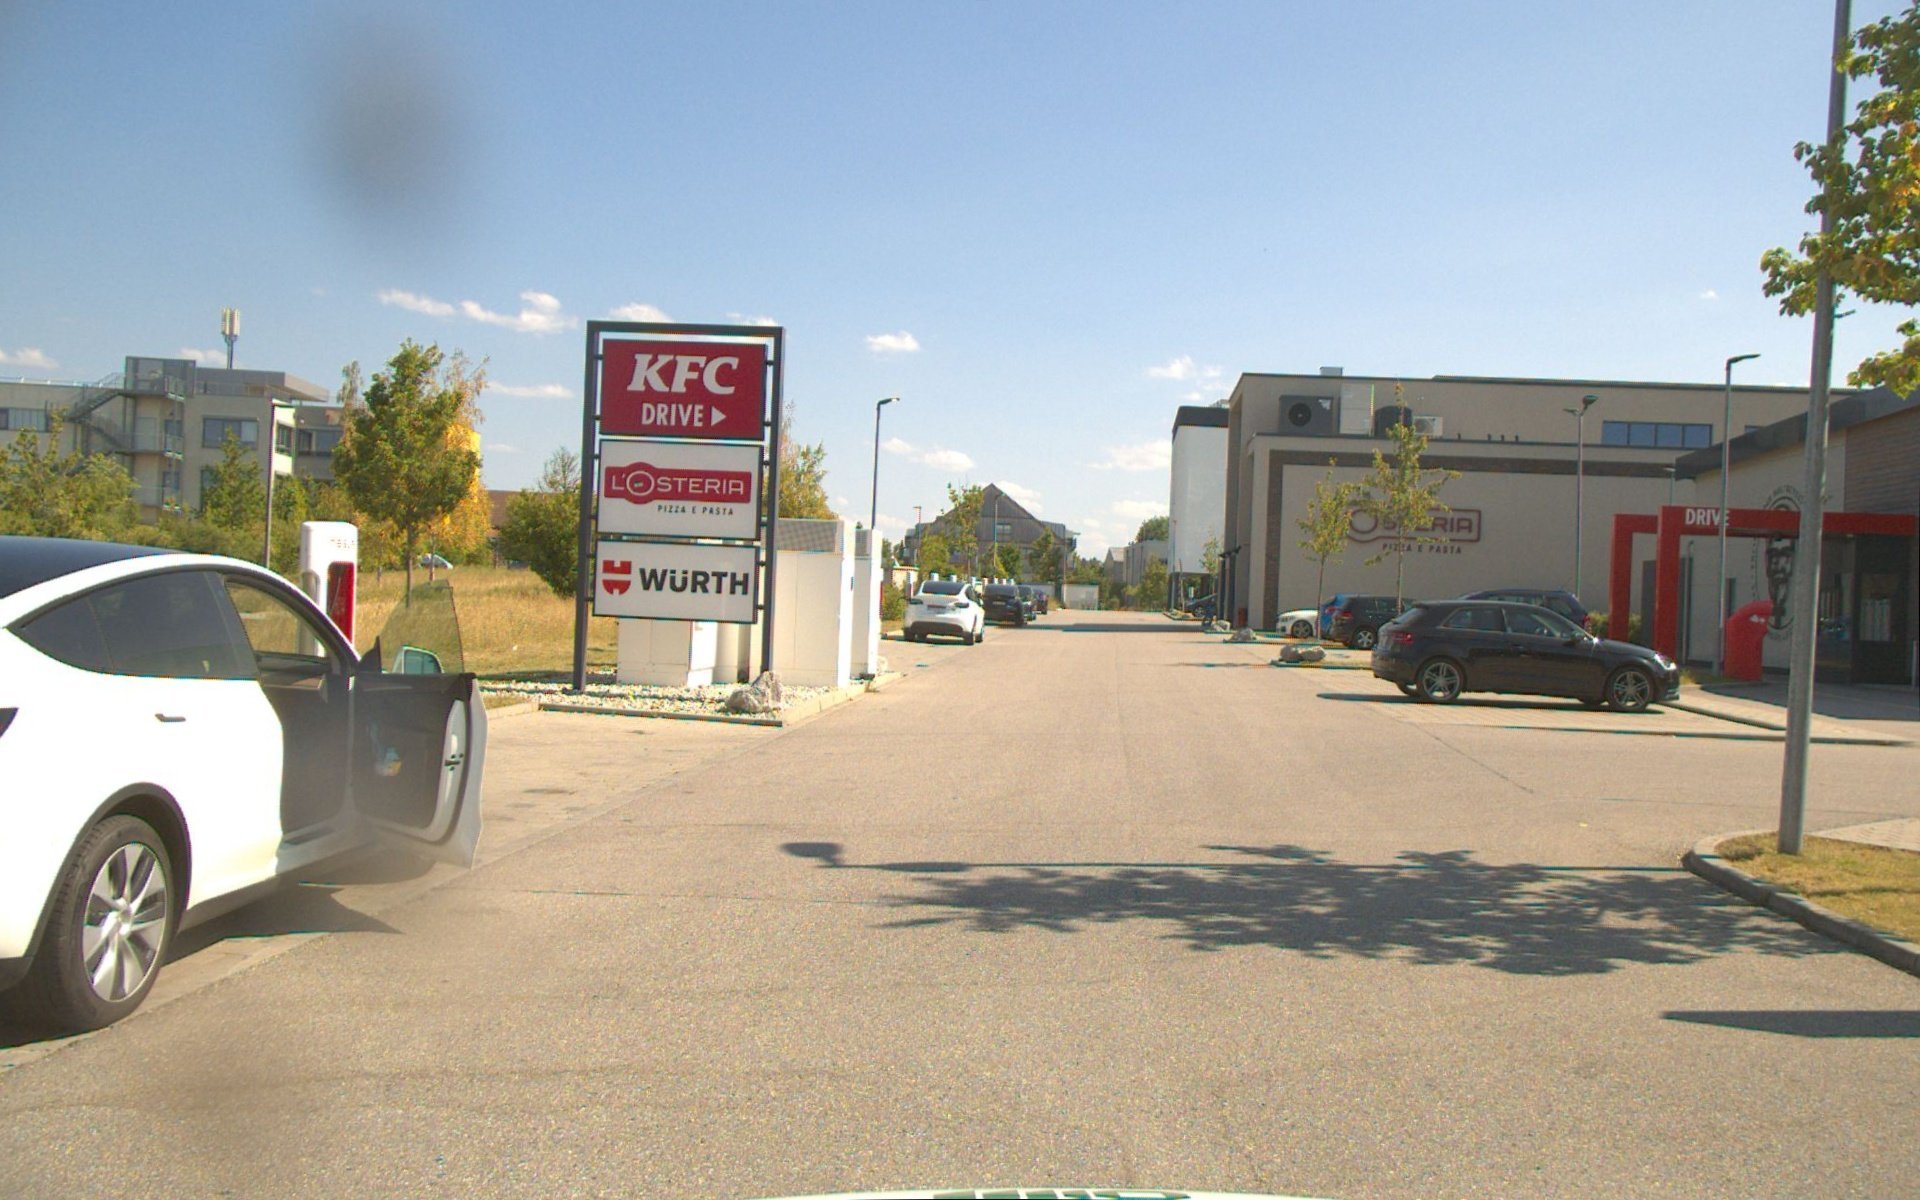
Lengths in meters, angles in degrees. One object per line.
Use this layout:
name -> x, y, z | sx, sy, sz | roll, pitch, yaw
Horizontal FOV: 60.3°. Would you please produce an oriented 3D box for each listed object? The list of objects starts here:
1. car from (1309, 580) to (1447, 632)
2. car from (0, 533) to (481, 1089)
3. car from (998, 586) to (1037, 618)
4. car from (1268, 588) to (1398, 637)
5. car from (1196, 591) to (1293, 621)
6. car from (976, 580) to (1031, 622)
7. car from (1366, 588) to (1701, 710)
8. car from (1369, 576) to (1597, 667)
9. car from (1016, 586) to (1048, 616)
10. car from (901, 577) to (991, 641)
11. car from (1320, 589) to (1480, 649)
car -> 13.151, 0.180, 52.178 | 3.904, 1.445, 1.651 | 2, 0, 2
car -> -3.638, 0.563, 6.858 | 1.825, 1.628, 4.490 | 2, 1, 2
car -> 2.734, 0.073, 78.534 | 1.706, 1.411, 4.002 | 2, 1, 3
car -> 12.340, 0.415, 54.855 | 3.904, 1.445, 1.651 | 2, 0, 2
car -> 12.274, 0.248, 71.546 | 3.903, 1.176, 2.001 | 2, 1, 4
car -> 1.768, 0.024, 66.522 | 1.904, 1.595, 4.003 | 2, 1, 5
car -> 7.964, 0.655, 23.276 | 4.112, 1.466, 1.699 | 2, 1, 4
car -> 11.040, 0.436, 35.082 | 4.280, 1.715, 1.642 | 2, 0, 0
car -> 4.172, 0.034, 95.416 | 1.706, 1.595, 4.002 | 2, 1, 3
car -> -0.328, 0.215, 45.273 | 1.903, 1.595, 4.003 | 2, 1, 7
car -> 11.970, 0.502, 45.169 | 3.904, 1.445, 1.651 | 2, 0, 2
